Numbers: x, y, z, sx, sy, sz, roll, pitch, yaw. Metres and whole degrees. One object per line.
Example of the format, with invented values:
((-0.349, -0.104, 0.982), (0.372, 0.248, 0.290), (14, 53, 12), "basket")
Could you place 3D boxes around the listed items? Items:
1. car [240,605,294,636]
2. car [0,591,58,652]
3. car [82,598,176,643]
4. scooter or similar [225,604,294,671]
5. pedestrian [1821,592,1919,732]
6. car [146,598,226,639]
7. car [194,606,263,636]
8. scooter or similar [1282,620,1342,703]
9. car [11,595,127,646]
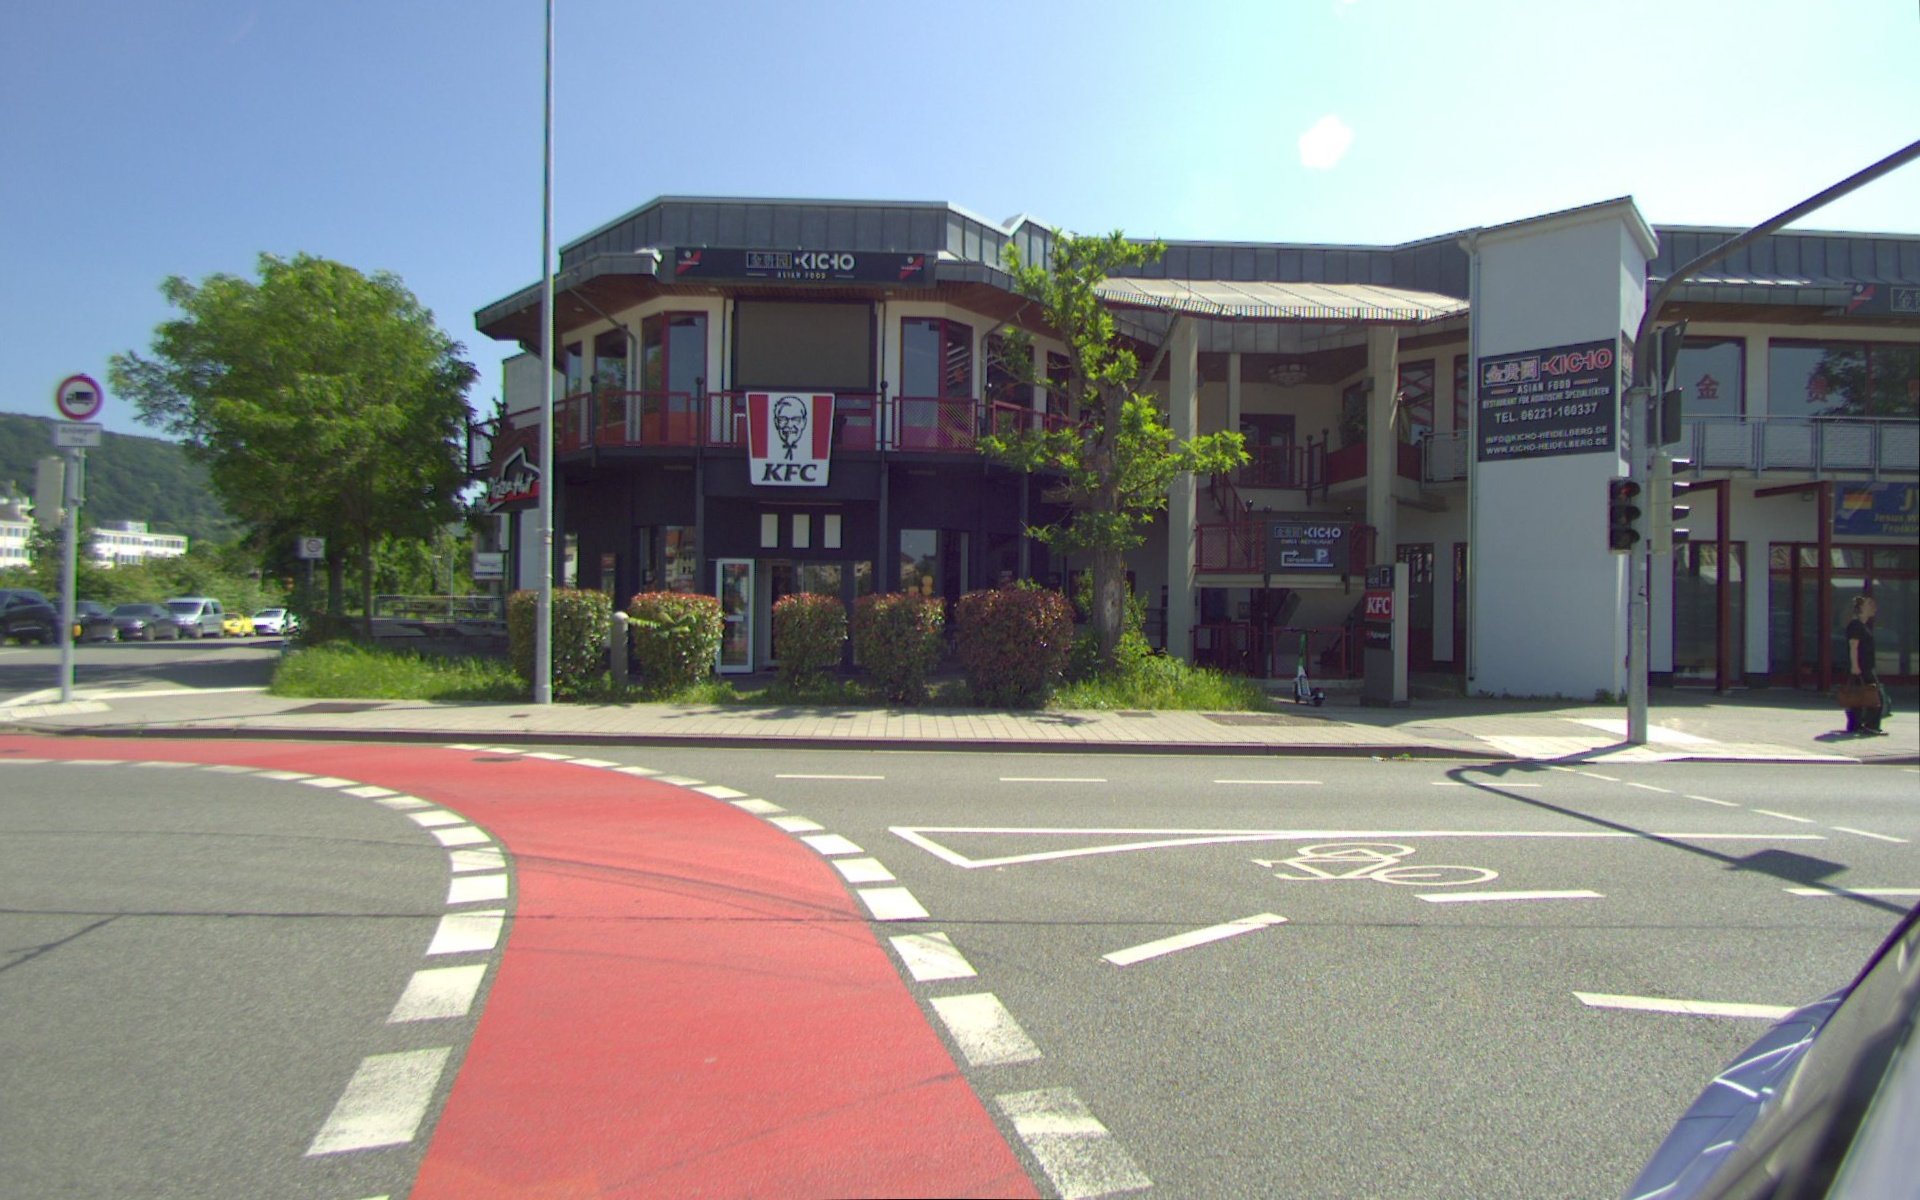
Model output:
((-37.622, 1.102, 55.028), (1.638, 1.552, 4.008), (1, 0, -23), "car")
((-27.884, 0.589, 28.920), (1.792, 1.648, 4.245), (1, 0, -22), "car")
((-31.255, 0.743, 38.186), (1.638, 1.552, 4.008), (1, 0, -23), "car")
((-12.667, 0.654, 18.340), (0.418, 1.137, 1.454), (1, 0, -9), "scooter or similar")
((11.382, 0.737, 12.565), (0.719, 1.666, 0.843), (1, 0, -29), "pedestrian")
((-33.345, 0.770, 43.722), (1.638, 1.655, 4.008), (1, 0, -21), "car")
((-35.436, 0.987, 49.119), (1.638, 1.334, 4.008), (1, 0, -20), "car")
((5.242, 0.883, 15.135), (0.492, 1.137, 1.502), (1, 0, 6), "scooter or similar")
((-29.457, 0.638, 33.599), (1.638, 1.552, 4.008), (1, 0, -23), "car")
